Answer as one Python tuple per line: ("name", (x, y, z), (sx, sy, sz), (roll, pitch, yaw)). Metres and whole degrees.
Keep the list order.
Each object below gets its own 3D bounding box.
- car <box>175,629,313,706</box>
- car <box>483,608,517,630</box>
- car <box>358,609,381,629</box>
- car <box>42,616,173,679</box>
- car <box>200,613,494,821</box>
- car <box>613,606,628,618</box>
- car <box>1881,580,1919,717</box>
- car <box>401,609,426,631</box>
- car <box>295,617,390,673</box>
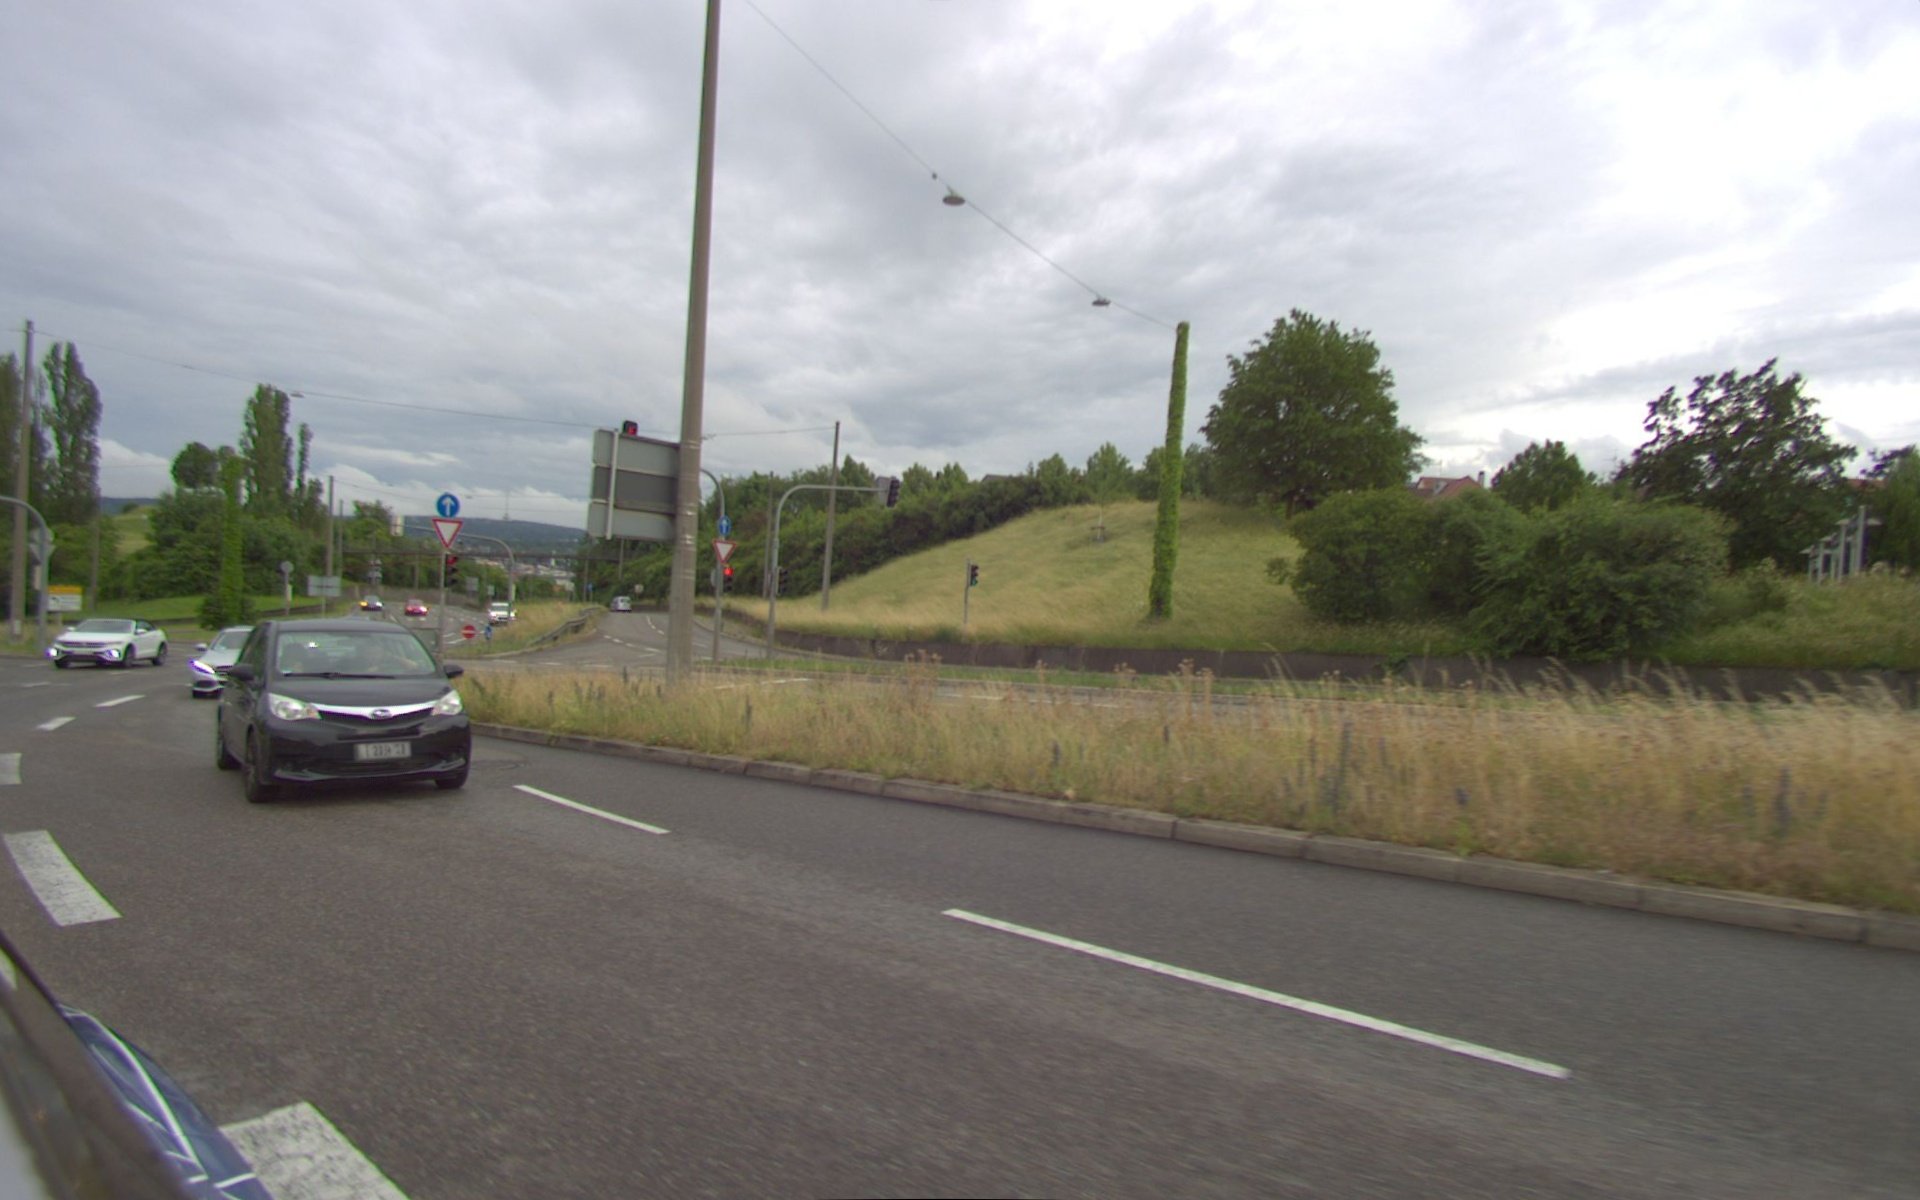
("car", (-15.355, 1.401, 21.937), (1.966, 1.419, 4.538), (3, -2, -30))
("car", (-36.946, 1.555, 81.296), (1.966, 1.705, 4.301), (1, -1, -32))
("car", (-60.177, 1.972, 103.247), (1.966, 2.029, 4.012), (1, -1, -30))
("car", (-26.109, 1.398, 31.150), (1.812, 1.551, 3.831), (0, 3, -19))
("car", (-6.093, 0.975, 9.839), (1.773, 1.577, 4.049), (4, -4, -40))
("car", (-40.512, 1.440, 120.759), (1.535, 1.443, 3.240), (-1, 0, -20))
("car", (16.255, 0.774, 14.710), (3.992, 2.029, 1.976), (0, -3, 36))
("car", (-51.926, 1.903, 96.144), (1.966, 2.029, 4.012), (1, -1, -31))
("car", (-20.550, 1.460, 33.853), (1.895, 1.748, 4.038), (0, -1, -19))
